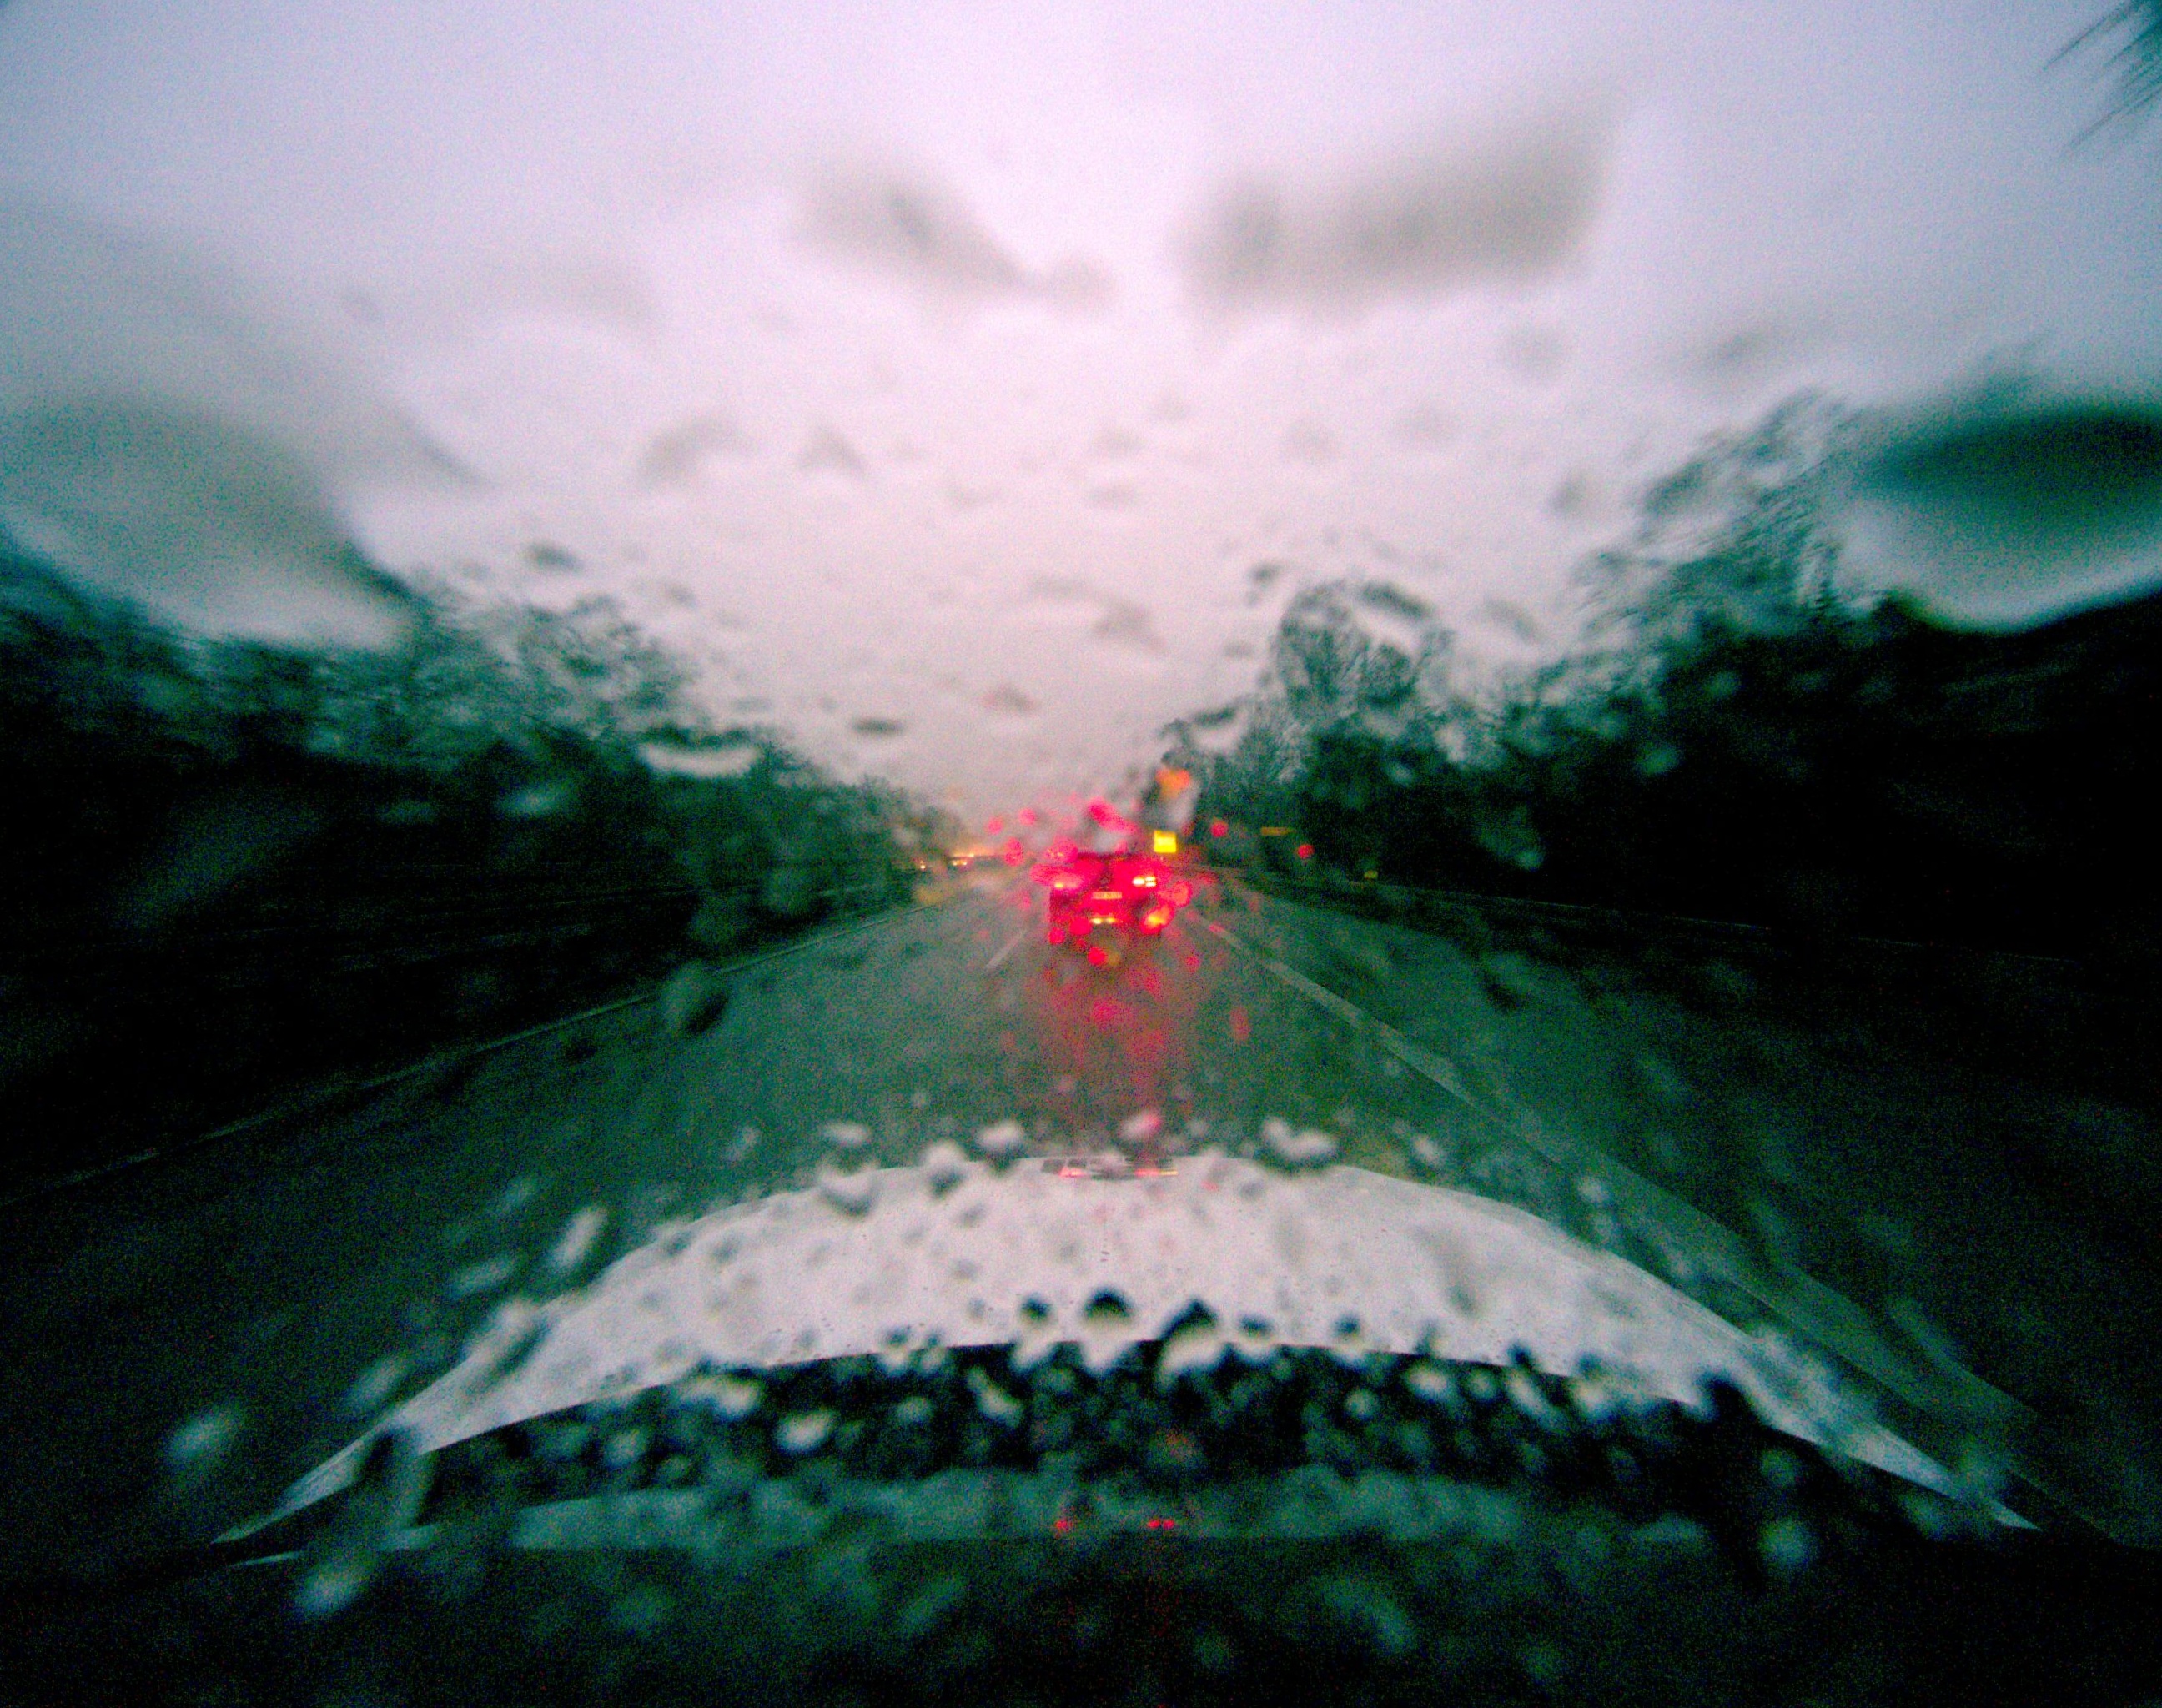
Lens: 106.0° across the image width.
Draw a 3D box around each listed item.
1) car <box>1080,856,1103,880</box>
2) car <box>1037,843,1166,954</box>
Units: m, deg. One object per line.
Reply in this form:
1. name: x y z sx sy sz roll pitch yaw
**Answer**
1. car: 0.882 1.230 70.925 1.987 2.013 3.999 -1 0 0
2. car: 0.371 0.695 14.624 1.985 1.715 3.831 -1 0 1
